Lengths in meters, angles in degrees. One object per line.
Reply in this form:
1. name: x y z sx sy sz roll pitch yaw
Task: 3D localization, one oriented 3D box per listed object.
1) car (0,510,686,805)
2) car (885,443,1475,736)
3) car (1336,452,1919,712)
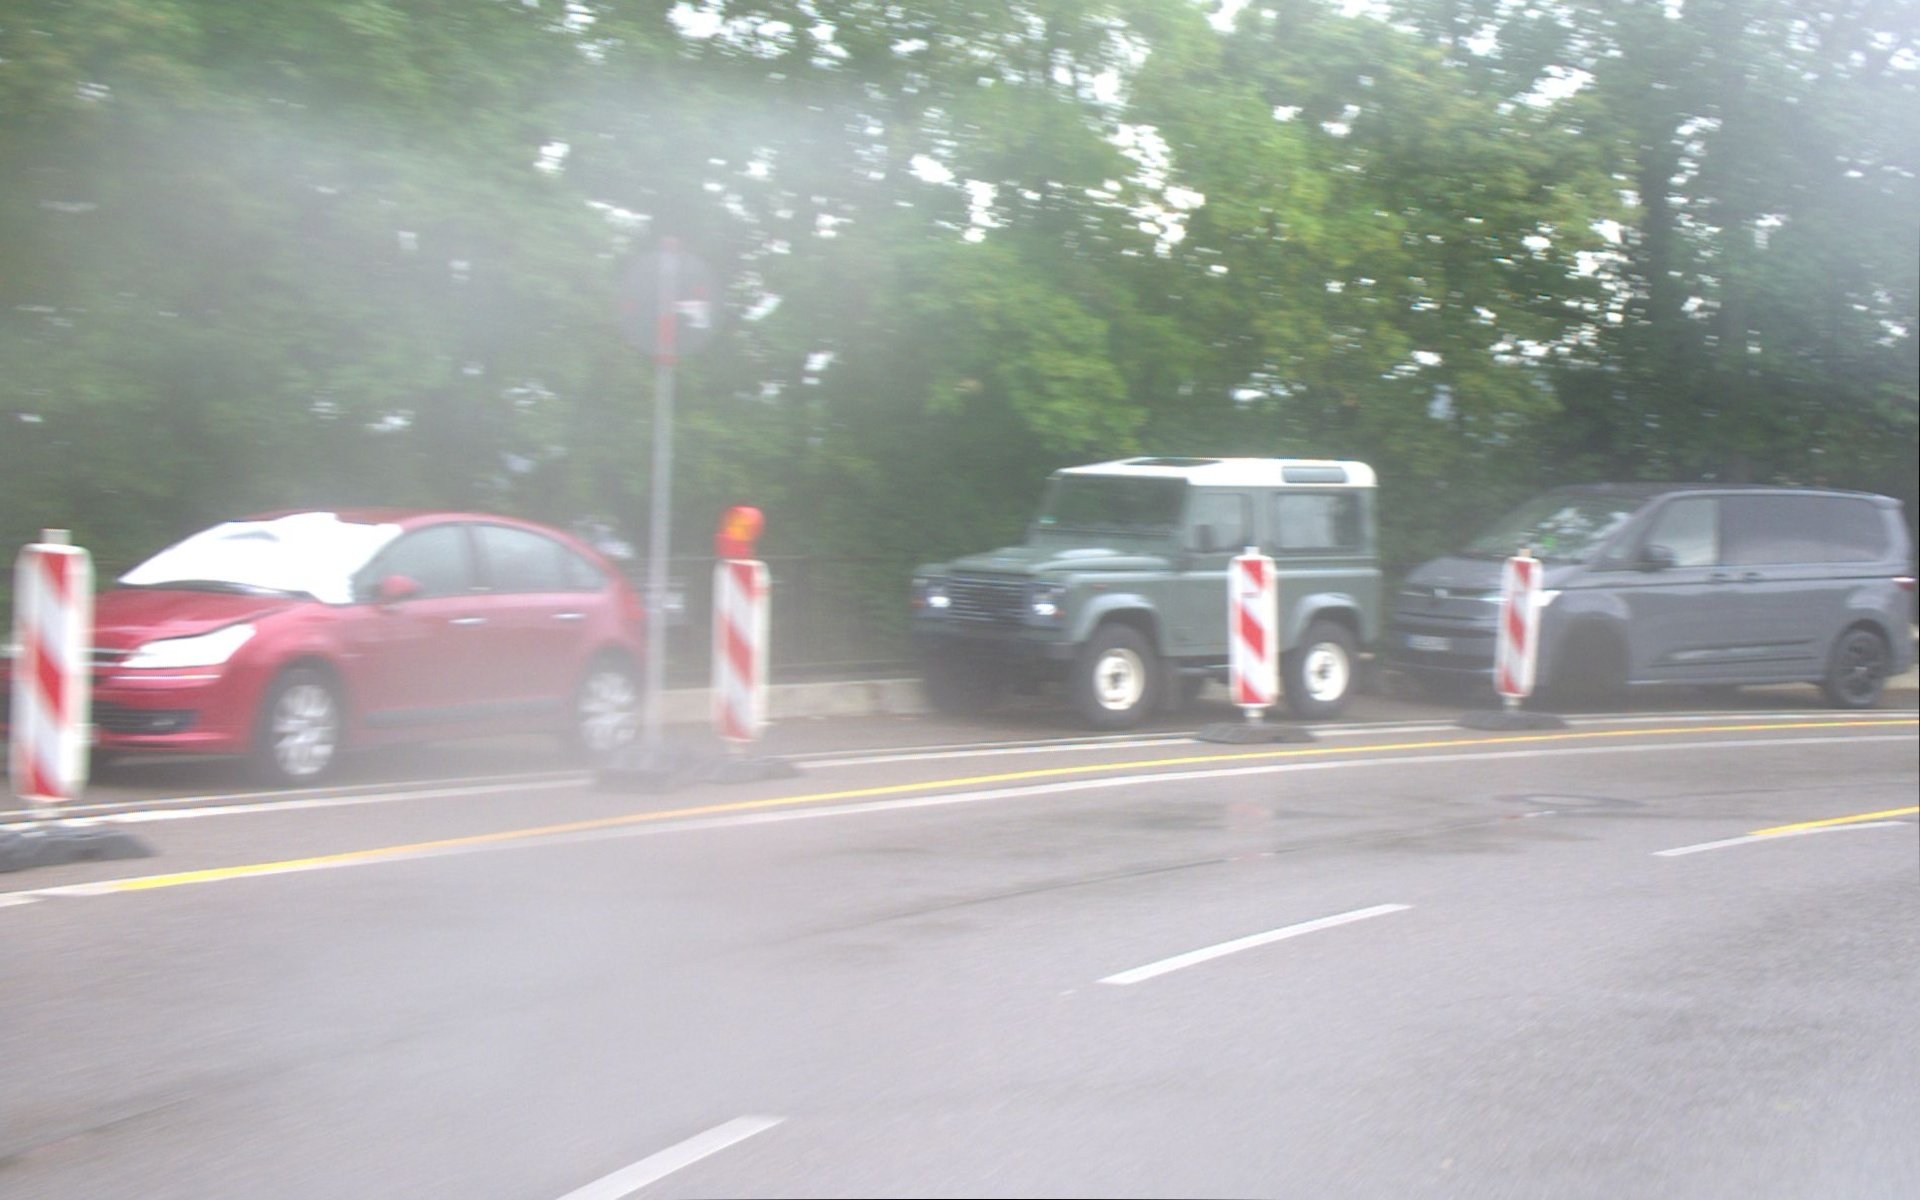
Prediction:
1. car: -3.642 0.242 19.482 1.964 1.435 4.315 2 2 32
2. car: 1.781 -0.121 26.353 1.870 2.006 4.801 4 3 42
3. car: 5.847 -0.134 29.480 4.932 2.006 2.000 1 3 -32
